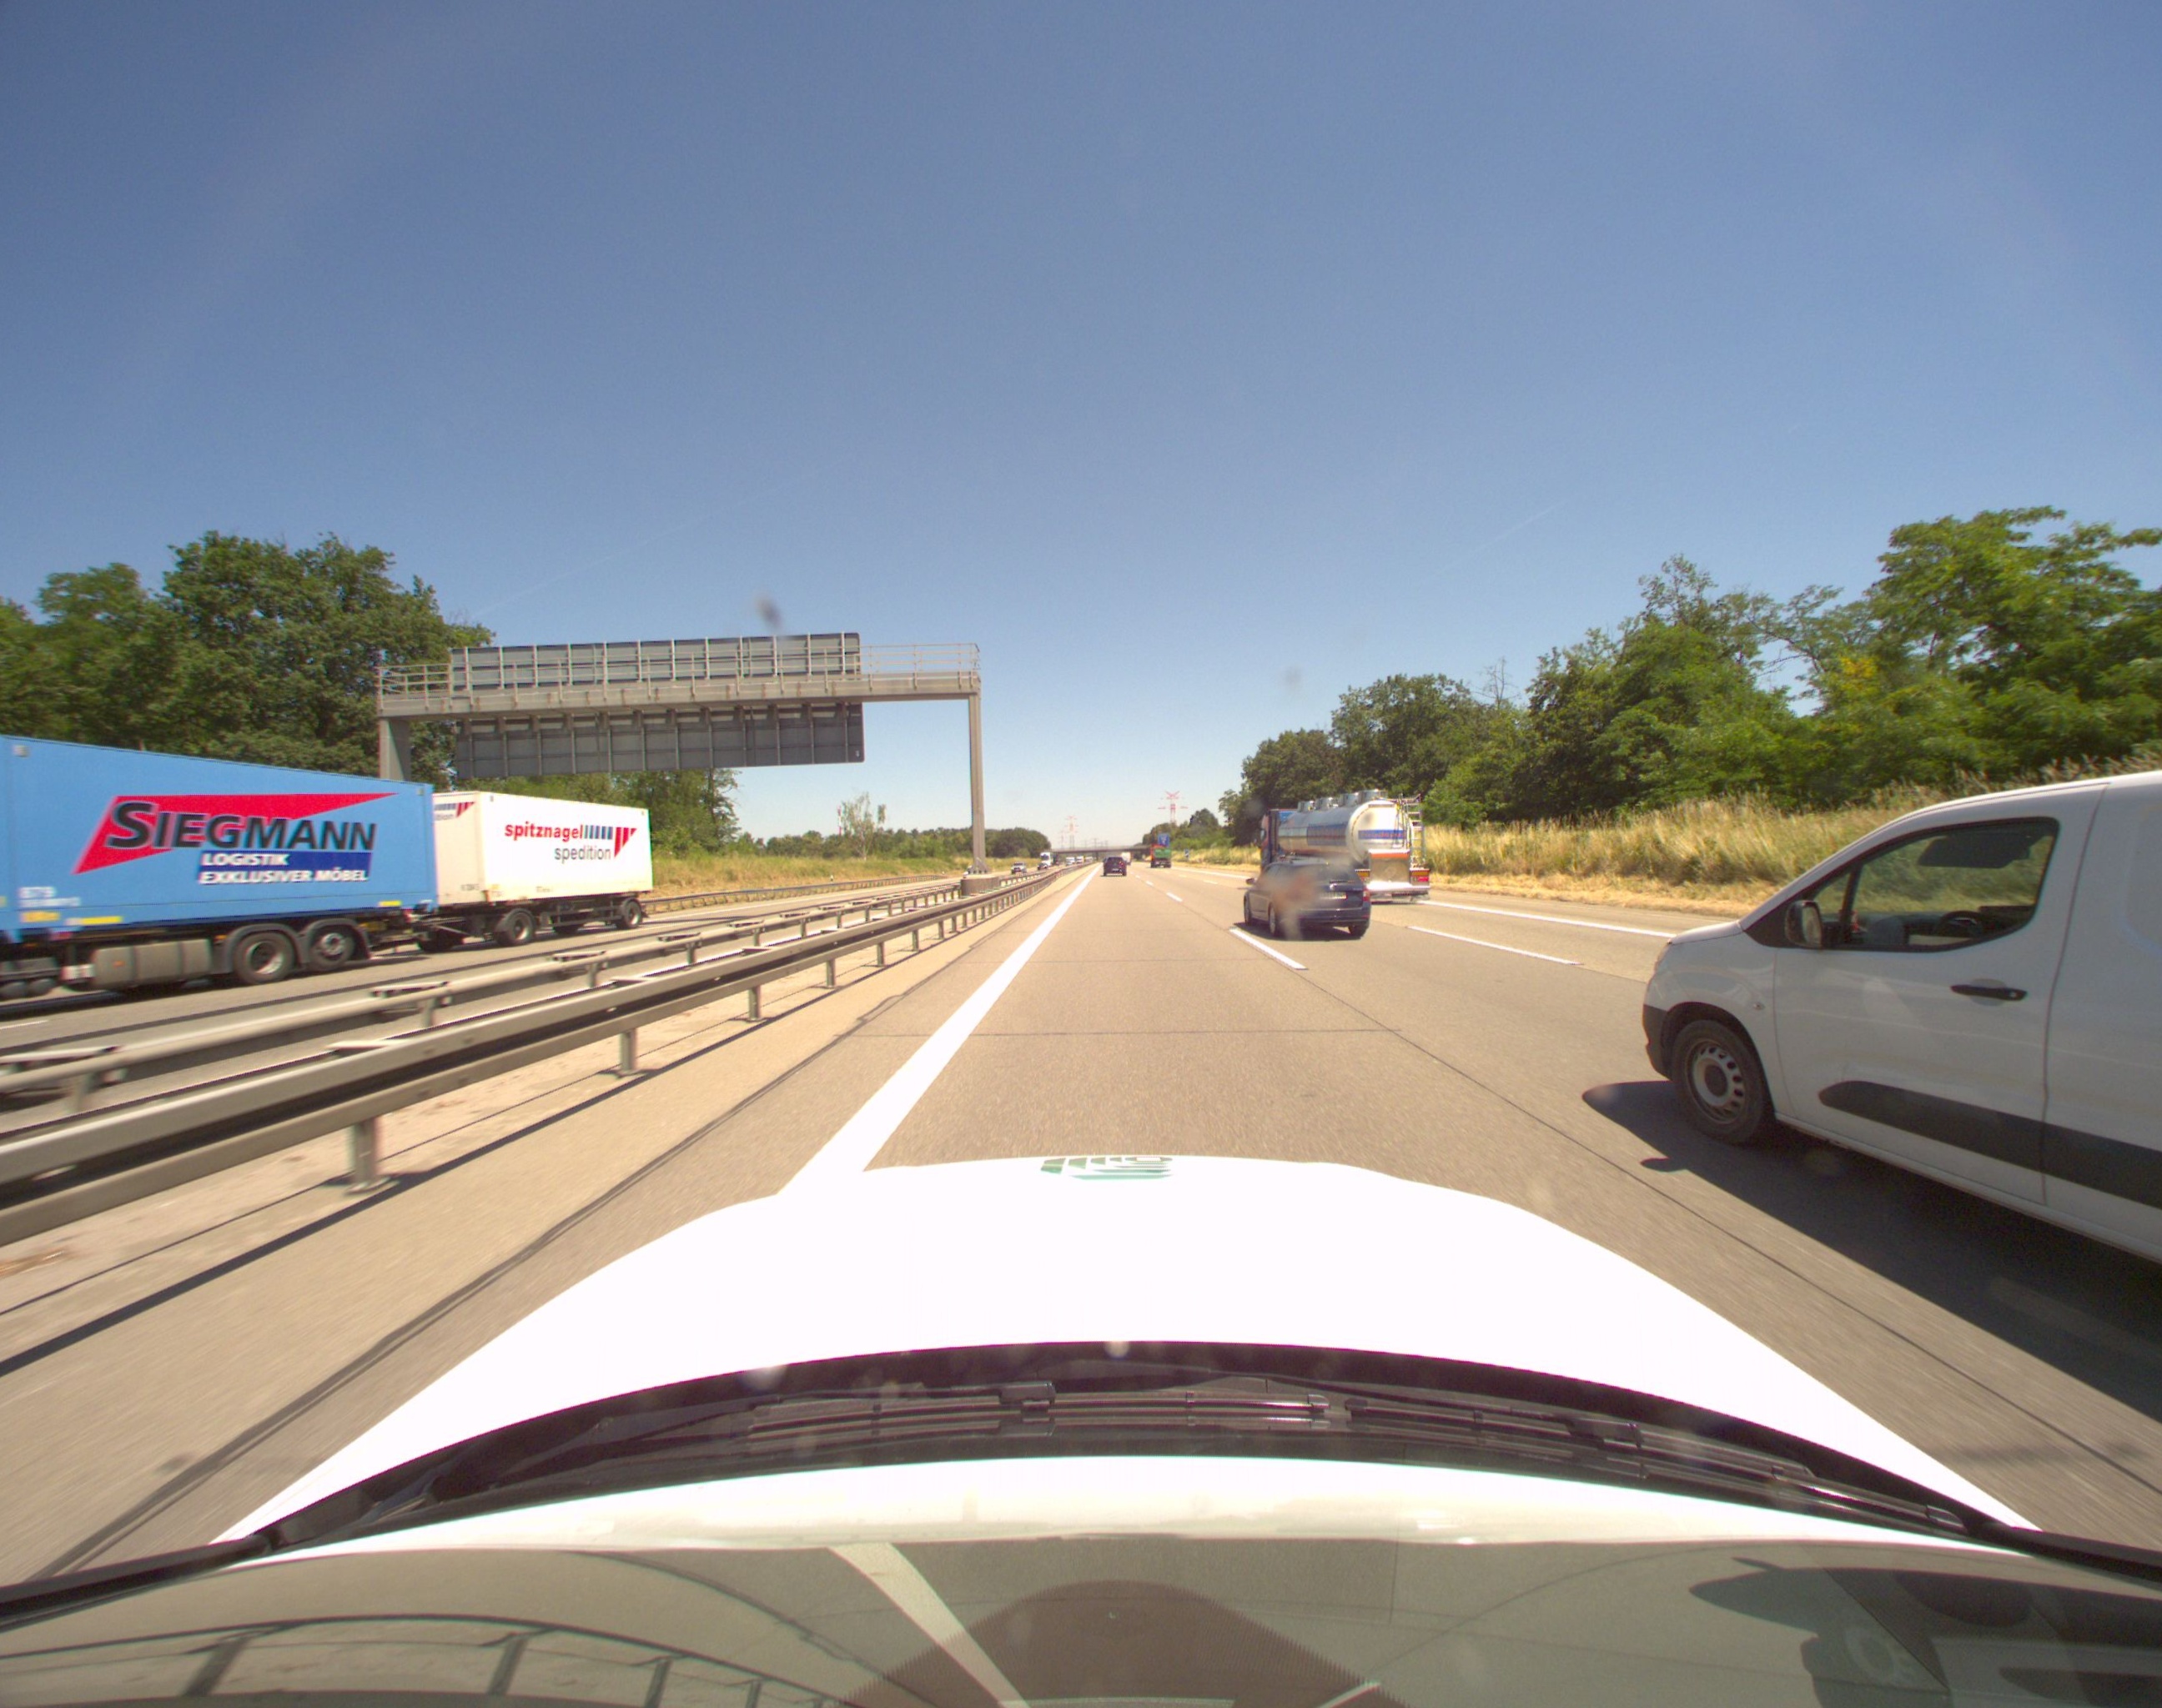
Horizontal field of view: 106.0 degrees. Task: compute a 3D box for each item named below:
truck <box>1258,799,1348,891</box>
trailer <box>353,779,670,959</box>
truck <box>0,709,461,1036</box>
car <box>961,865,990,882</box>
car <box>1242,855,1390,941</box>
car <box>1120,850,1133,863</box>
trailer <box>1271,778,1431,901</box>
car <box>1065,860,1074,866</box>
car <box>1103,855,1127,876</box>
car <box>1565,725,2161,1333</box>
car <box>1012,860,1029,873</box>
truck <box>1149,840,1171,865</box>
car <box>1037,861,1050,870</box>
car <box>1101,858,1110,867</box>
[{"bbox_3d":[9.715,-0.364,36.256,2.519,3.734,6.101,0,0,2],"label":"truck"},{"bbox_3d":[-16.168,0.389,24.325,3.046,4.283,8.638,-2,0,2],"label":"trailer"},{"bbox_3d":[-16.487,0.326,14.103,3.046,4.558,10.463,-3,0,2],"label":"truck"},{"bbox_3d":[-9.890,1.797,76.555,1.799,1.396,4.484,-3,0,3],"label":"car"},{"bbox_3d":[4.501,0.779,16.245,1.795,1.483,4.272,0,0,1],"label":"car"},{"bbox_3d":[9.826,0.537,176.893,2.611,2.759,6.099,0,0,2],"label":"car"},{"bbox_3d":[9.522,-0.401,30.458,2.519,3.734,11.553,0,0,2],"label":"trailer"},{"bbox_3d":[-3.100,2.418,220.774,1.955,1.429,5.291,-3,0,1],"label":"car"},{"bbox_3d":[2.947,0.954,70.718,1.986,1.750,4.001,0,0,2],"label":"car"},{"bbox_3d":[4.160,0.521,2.998,1.859,1.817,4.941,0,0,0],"label":"car"},{"bbox_3d":[-8.720,1.816,117.662,1.955,1.718,5.291,-3,0,1],"label":"car"},{"bbox_3d":[12.561,-0.153,130.399,2.670,3.798,12.483,0,0,2],"label":"truck"},{"bbox_3d":[-7.077,2.128,152.501,1.955,1.525,5.291,-3,0,1],"label":"car"},{"bbox_3d":[4.846,1.708,159.723,1.787,1.750,4.001,0,0,2],"label":"car"}]
